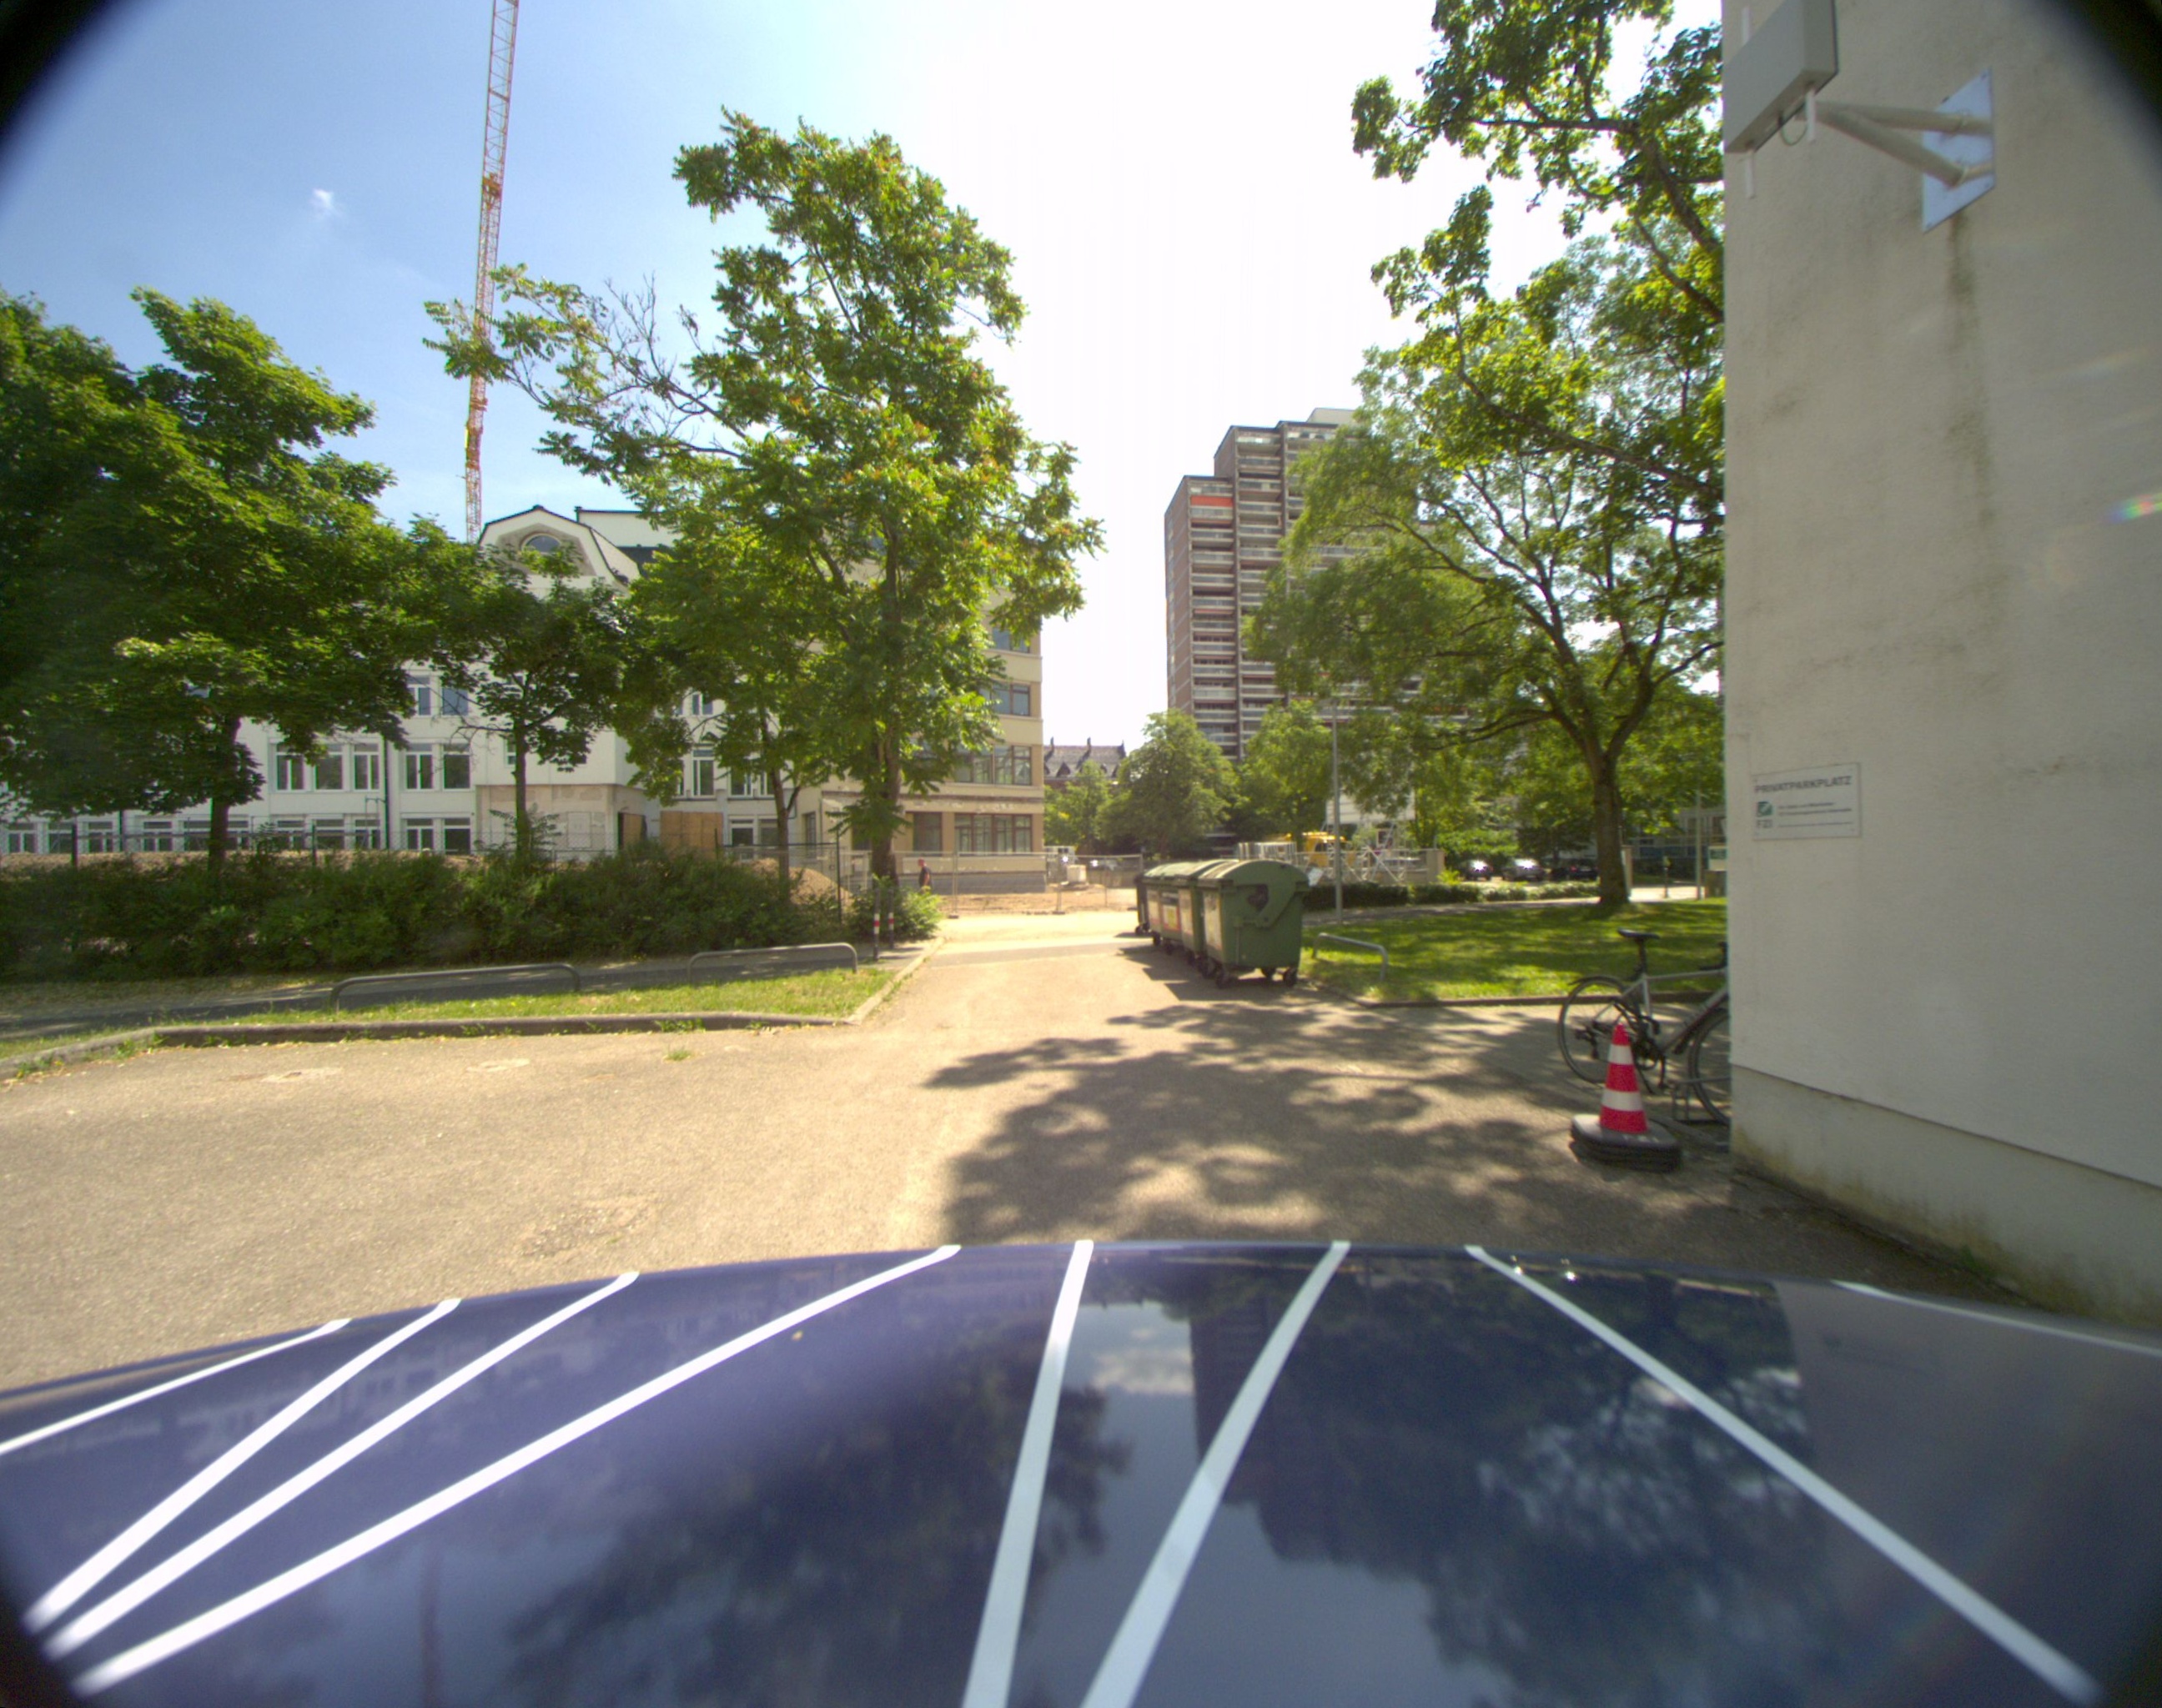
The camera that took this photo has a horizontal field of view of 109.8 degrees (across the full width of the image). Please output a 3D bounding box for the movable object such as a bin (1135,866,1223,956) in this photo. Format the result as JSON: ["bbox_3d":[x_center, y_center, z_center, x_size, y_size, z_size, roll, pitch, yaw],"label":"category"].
[{"bbox_3d":[1.675,0.949,13.236,1.208,1.470,1.324,0,0,-8],"label":"movable object such as a bin"}]

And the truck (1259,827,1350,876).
[{"bbox_3d":[19.307,-0.151,66.562,2.753,3.982,9.731,-1,0,-16],"label":"truck"}]

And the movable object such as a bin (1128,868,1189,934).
[{"bbox_3d":[1.726,1.015,16.836,1.114,1.386,1.162,0,0,18],"label":"movable object such as a bin"}]

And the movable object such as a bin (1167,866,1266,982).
[{"bbox_3d":[1.825,0.912,10.427,1.047,1.470,1.261,0,0,-4],"label":"movable object such as a bin"}]

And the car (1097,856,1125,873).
[{"bbox_3d":[3.665,1.304,92.221,1.995,2.002,4.007,-1,0,23],"label":"car"}]

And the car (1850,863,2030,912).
[{"bbox_3d":[27.599,1.052,24.526,1.592,1.448,3.716,2,-2,-36],"label":"car"}]

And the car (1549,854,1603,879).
[{"bbox_3d":[31.321,0.776,48.165,1.647,1.507,3.579,-1,-1,11],"label":"car"}]

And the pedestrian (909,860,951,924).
[{"bbox_3d":[-4.387,1.080,22.020,0.969,1.809,0.869,-1,0,-26],"label":"pedestrian"}]

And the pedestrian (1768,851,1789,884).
[{"bbox_3d":[38.960,0.747,42.454,0.716,1.863,0.576,0,0,-19],"label":"pedestrian"}]

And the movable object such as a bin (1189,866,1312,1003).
[{"bbox_3d":[1.958,0.893,9.009,1.047,1.470,1.409,0,0,-4],"label":"movable object such as a bin"}]

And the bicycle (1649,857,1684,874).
[{"bbox_3d":[39.113,0.743,50.770,1.926,1.124,0.568,-1,0,-2],"label":"bicycle"}]

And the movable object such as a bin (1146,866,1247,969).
[{"bbox_3d":[1.759,0.930,11.792,1.097,1.470,1.358,0,0,-15],"label":"movable object such as a bin"}]

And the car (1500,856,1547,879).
[{"bbox_3d":[29.519,0.870,50.798,1.816,1.454,4.028,-1,0,17],"label":"car"}]

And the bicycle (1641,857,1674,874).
[{"bbox_3d":[39.093,0.753,51.542,1.927,1.124,0.568,-1,0,-5],"label":"bicycle"}]

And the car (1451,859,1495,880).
[{"bbox_3d":[26.875,1.026,52.219,1.627,1.365,4.026,-1,0,11],"label":"car"}]

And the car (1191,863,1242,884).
[{"bbox_3d":[9.393,1.350,53.047,1.625,1.431,3.575,0,0,-29],"label":"car"}]

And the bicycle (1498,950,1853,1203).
[{"bbox_3d":[3.229,1.136,4.377,0.613,0.952,1.729,-1,-1,-3],"label":"bicycle"}]
